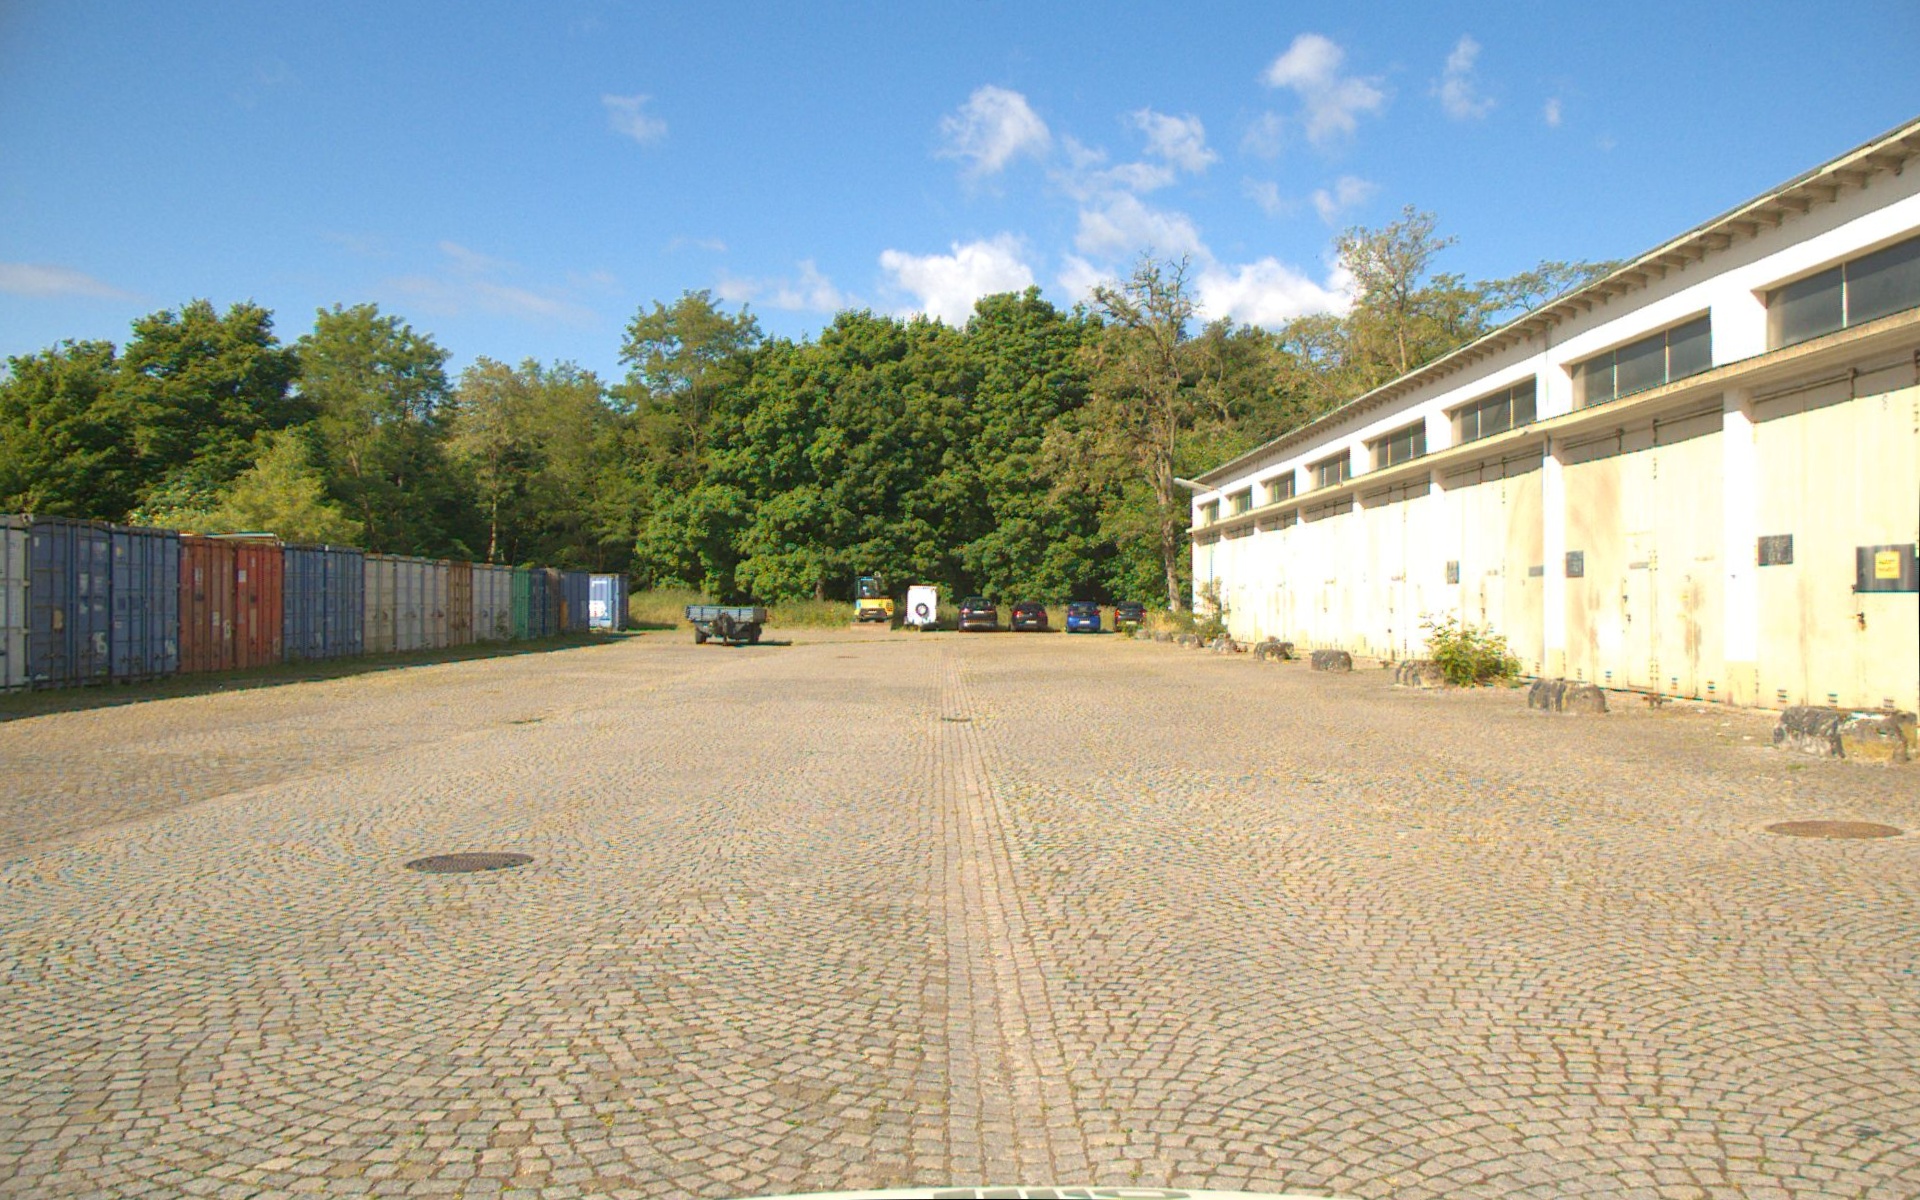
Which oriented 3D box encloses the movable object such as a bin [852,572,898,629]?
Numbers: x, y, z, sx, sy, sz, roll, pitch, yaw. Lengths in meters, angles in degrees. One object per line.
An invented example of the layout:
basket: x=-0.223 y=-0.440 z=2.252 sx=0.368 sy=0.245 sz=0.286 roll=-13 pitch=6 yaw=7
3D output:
movable object such as a bin: x=-4.175 y=0.022 z=80.852 sx=2.187 sy=2.704 sz=3.997 roll=0 pitch=0 yaw=-3

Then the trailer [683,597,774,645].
trailer: x=-8.538 y=0.759 z=61.464 sx=2.735 sy=1.675 sz=5.618 roll=0 pitch=0 yaw=-2

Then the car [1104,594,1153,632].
car: x=8.191 y=0.637 z=80.667 sx=1.953 sy=1.803 sz=3.999 roll=0 pitch=0 yaw=-1

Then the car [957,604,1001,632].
car: x=0.880 y=0.834 z=78.938 sx=1.953 sy=1.280 sz=3.999 roll=0 pitch=0 yaw=-1

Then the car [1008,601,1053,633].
car: x=3.352 y=0.805 z=79.352 sx=1.953 sy=1.449 sz=3.999 roll=0 pitch=0 yaw=-1

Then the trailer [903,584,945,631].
trailer: x=-1.752 y=0.360 z=80.132 sx=1.953 sy=2.200 sz=4.430 roll=0 pitch=0 yaw=-1

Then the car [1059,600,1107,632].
car: x=5.892 y=0.759 z=79.384 sx=1.953 sy=1.492 sz=3.999 roll=0 pitch=0 yaw=-1
